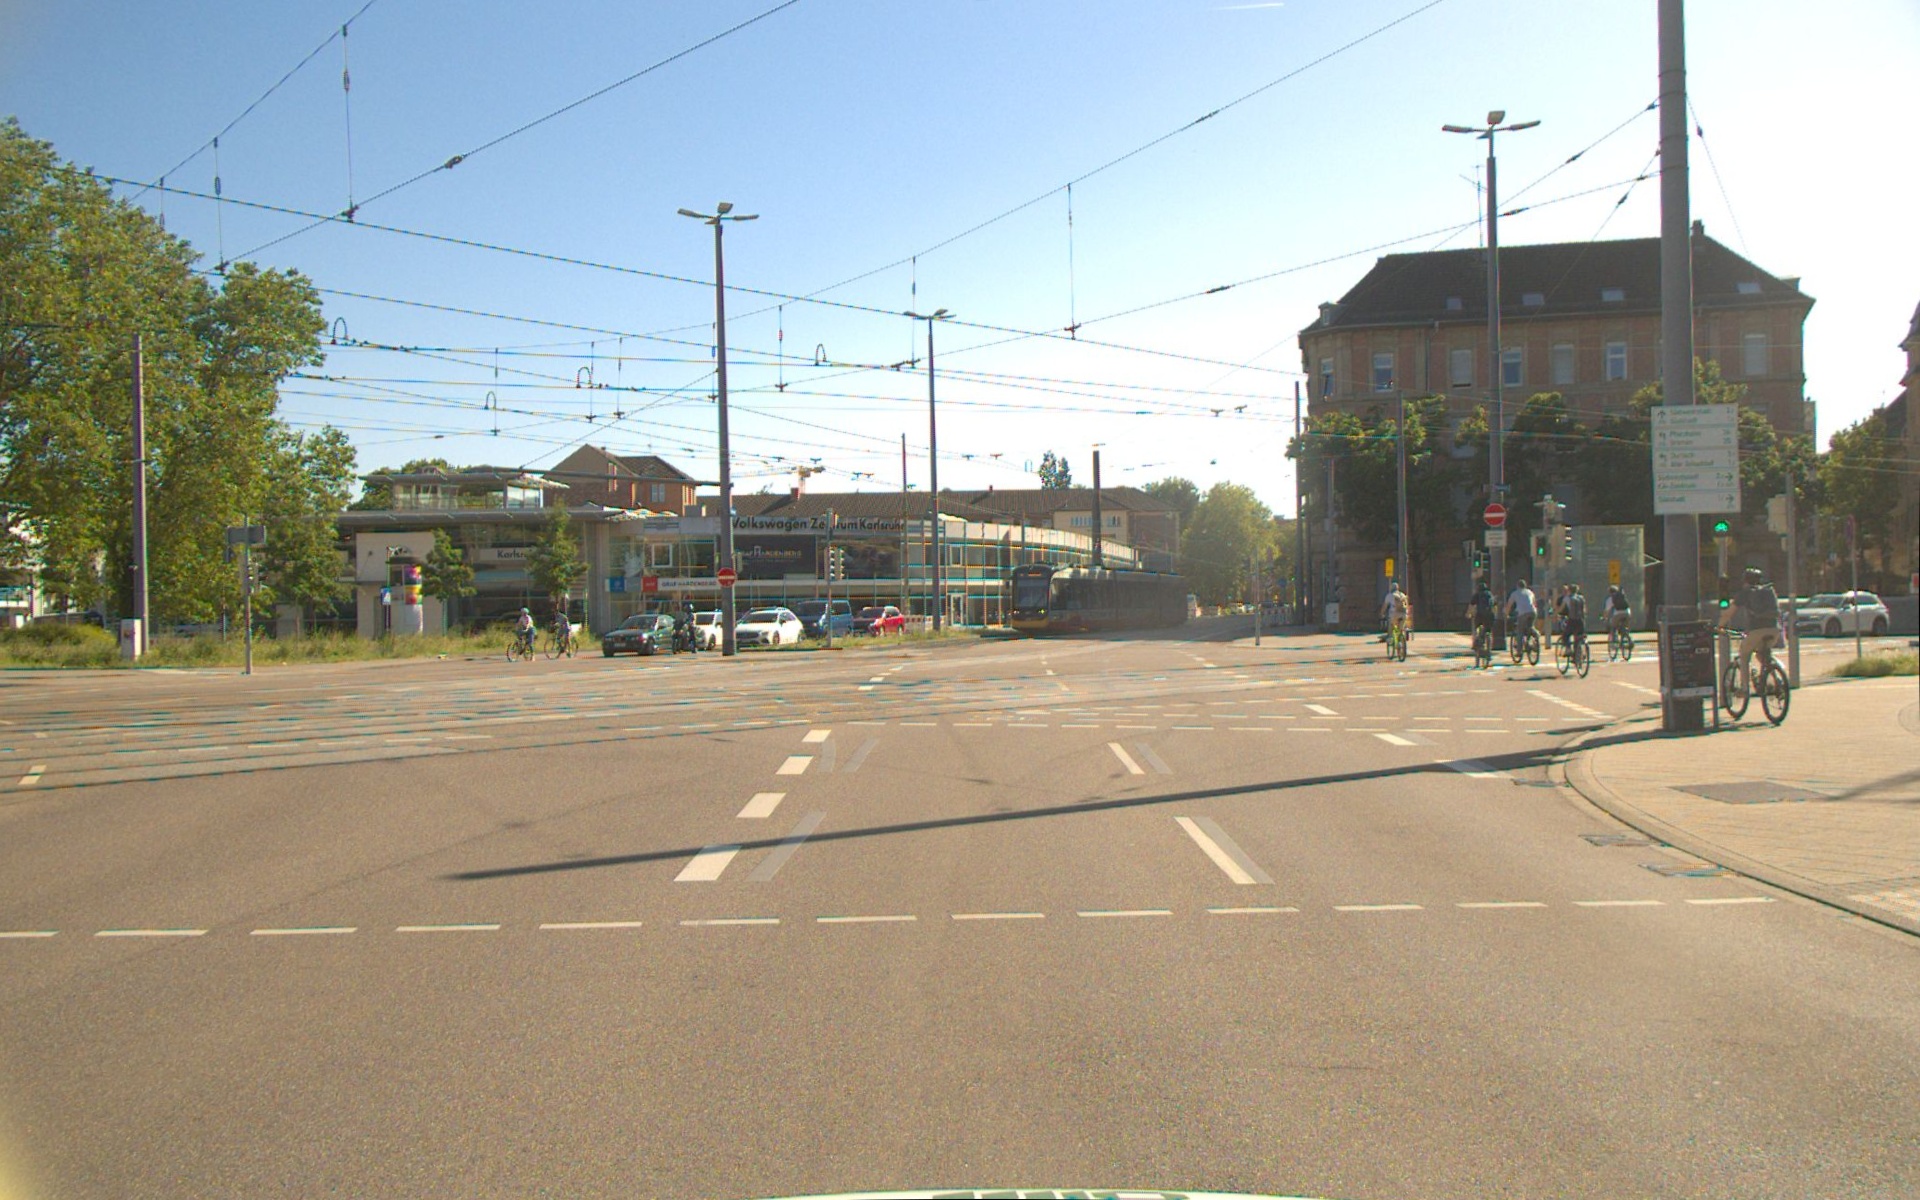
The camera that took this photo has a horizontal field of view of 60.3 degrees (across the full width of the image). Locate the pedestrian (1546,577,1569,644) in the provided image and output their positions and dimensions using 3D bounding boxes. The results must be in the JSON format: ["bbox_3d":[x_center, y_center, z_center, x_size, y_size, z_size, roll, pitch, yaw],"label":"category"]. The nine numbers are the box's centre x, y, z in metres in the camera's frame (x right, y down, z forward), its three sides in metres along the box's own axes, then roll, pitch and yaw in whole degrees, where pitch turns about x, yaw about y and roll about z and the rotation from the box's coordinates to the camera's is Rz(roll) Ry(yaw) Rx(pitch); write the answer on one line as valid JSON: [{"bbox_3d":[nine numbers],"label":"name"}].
[{"bbox_3d":[18.380,0.331,50.898,0.453,2.049,0.449,-1,0,-19],"label":"pedestrian"}]

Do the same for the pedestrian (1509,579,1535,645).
[{"bbox_3d":[17.644,0.382,51.942,0.564,2.049,0.449,-1,0,-19],"label":"pedestrian"}]

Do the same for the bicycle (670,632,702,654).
[{"bbox_3d":[-9.524,1.497,57.471,0.413,0.730,1.635,-1,0,16],"label":"bicycle"}]

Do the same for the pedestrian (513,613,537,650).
[{"bbox_3d":[-14.671,1.054,55.811,0.414,1.225,0.679,-1,-1,29],"label":"pedestrian"}]

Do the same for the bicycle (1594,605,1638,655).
[{"bbox_3d":[15.354,0.686,38.743,0.559,1.145,1.742,-1,0,9],"label":"bicycle"}]

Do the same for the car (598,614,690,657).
[{"bbox_3d":[-11.053,1.224,58.021,1.667,1.378,3.703,-1,0,16],"label":"car"}]

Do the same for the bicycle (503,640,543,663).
[{"bbox_3d":[-14.709,1.719,55.716,0.414,0.730,1.473,-1,0,29],"label":"bicycle"}]

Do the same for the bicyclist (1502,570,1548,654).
[{"bbox_3d":[12.558,0.259,36.804,0.731,1.810,0.925,-2,0,6],"label":"bicyclist"}]

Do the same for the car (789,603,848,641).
[{"bbox_3d":[-6.490,0.992,76.190,1.591,1.722,3.688,-1,0,14],"label":"car"}]

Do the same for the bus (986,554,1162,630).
[{"bbox_3d":[6.965,-0.192,92.420,3.756,3.671,24.874,0,-1,18],"label":"bus"}]

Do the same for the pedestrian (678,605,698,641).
[{"bbox_3d":[-9.480,0.790,57.646,0.413,1.225,0.750,-1,-1,16],"label":"pedestrian"}]

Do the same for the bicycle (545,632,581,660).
[{"bbox_3d":[-13.833,1.607,57.636,0.458,0.943,1.475,-1,0,22],"label":"bicycle"}]

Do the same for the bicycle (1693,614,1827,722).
[{"bbox_3d":[9.827,0.808,20.383,0.676,1.239,1.834,-3,0,-1],"label":"bicycle"}]

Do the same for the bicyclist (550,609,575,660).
[{"bbox_3d":[-13.820,1.202,57.484,0.557,1.744,0.649,-1,-1,23],"label":"bicyclist"}]

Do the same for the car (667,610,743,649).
[{"bbox_3d":[-9.838,1.117,63.997,1.591,1.449,3.688,-1,0,14],"label":"car"}]

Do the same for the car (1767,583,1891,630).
[{"bbox_3d":[31.287,0.240,59.515,4.258,1.591,1.785,-1,0,-26],"label":"car"}]

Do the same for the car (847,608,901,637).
[{"bbox_3d":[-4.321,1.136,83.351,1.591,1.388,3.688,-1,0,16],"label":"car"}]

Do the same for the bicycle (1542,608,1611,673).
[{"bbox_3d":[11.711,0.751,31.468,0.671,1.184,1.884,-1,0,3],"label":"bicycle"}]

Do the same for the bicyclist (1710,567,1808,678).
[{"bbox_3d":[9.860,0.269,20.436,0.705,1.301,0.907,-3,0,-1],"label":"bicyclist"}]

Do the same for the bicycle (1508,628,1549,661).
[{"bbox_3d":[12.585,0.980,36.657,0.525,0.667,1.468,-2,0,6],"label":"bicycle"}]

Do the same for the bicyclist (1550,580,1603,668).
[{"bbox_3d":[11.724,0.451,31.475,0.671,1.626,0.977,-1,0,3],"label":"bicyclist"}]

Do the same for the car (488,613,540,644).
[{"bbox_3d":[-26.068,1.625,96.770,1.926,1.736,4.082,-1,0,-1],"label":"car"}]

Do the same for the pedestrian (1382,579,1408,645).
[{"bbox_3d":[10.614,0.294,40.360,0.537,1.590,0.858,-1,-1,19],"label":"pedestrian"}]

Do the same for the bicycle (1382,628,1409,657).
[{"bbox_3d":[10.668,1.033,40.474,0.525,0.667,1.726,-1,0,18],"label":"bicycle"}]

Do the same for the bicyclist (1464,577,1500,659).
[{"bbox_3d":[10.866,0.382,34.451,0.612,1.666,0.995,1,-1,15],"label":"bicyclist"}]

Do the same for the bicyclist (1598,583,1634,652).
[{"bbox_3d":[15.338,0.406,38.693,0.559,1.596,0.947,-1,0,8],"label":"bicyclist"}]

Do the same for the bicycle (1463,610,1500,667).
[{"bbox_3d":[10.865,0.788,34.483,0.612,1.133,1.852,2,-1,15],"label":"bicycle"}]

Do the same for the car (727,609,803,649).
[{"bbox_3d":[-7.284,1.080,62.158,1.591,1.406,3.741,-1,0,14],"label":"car"}]
